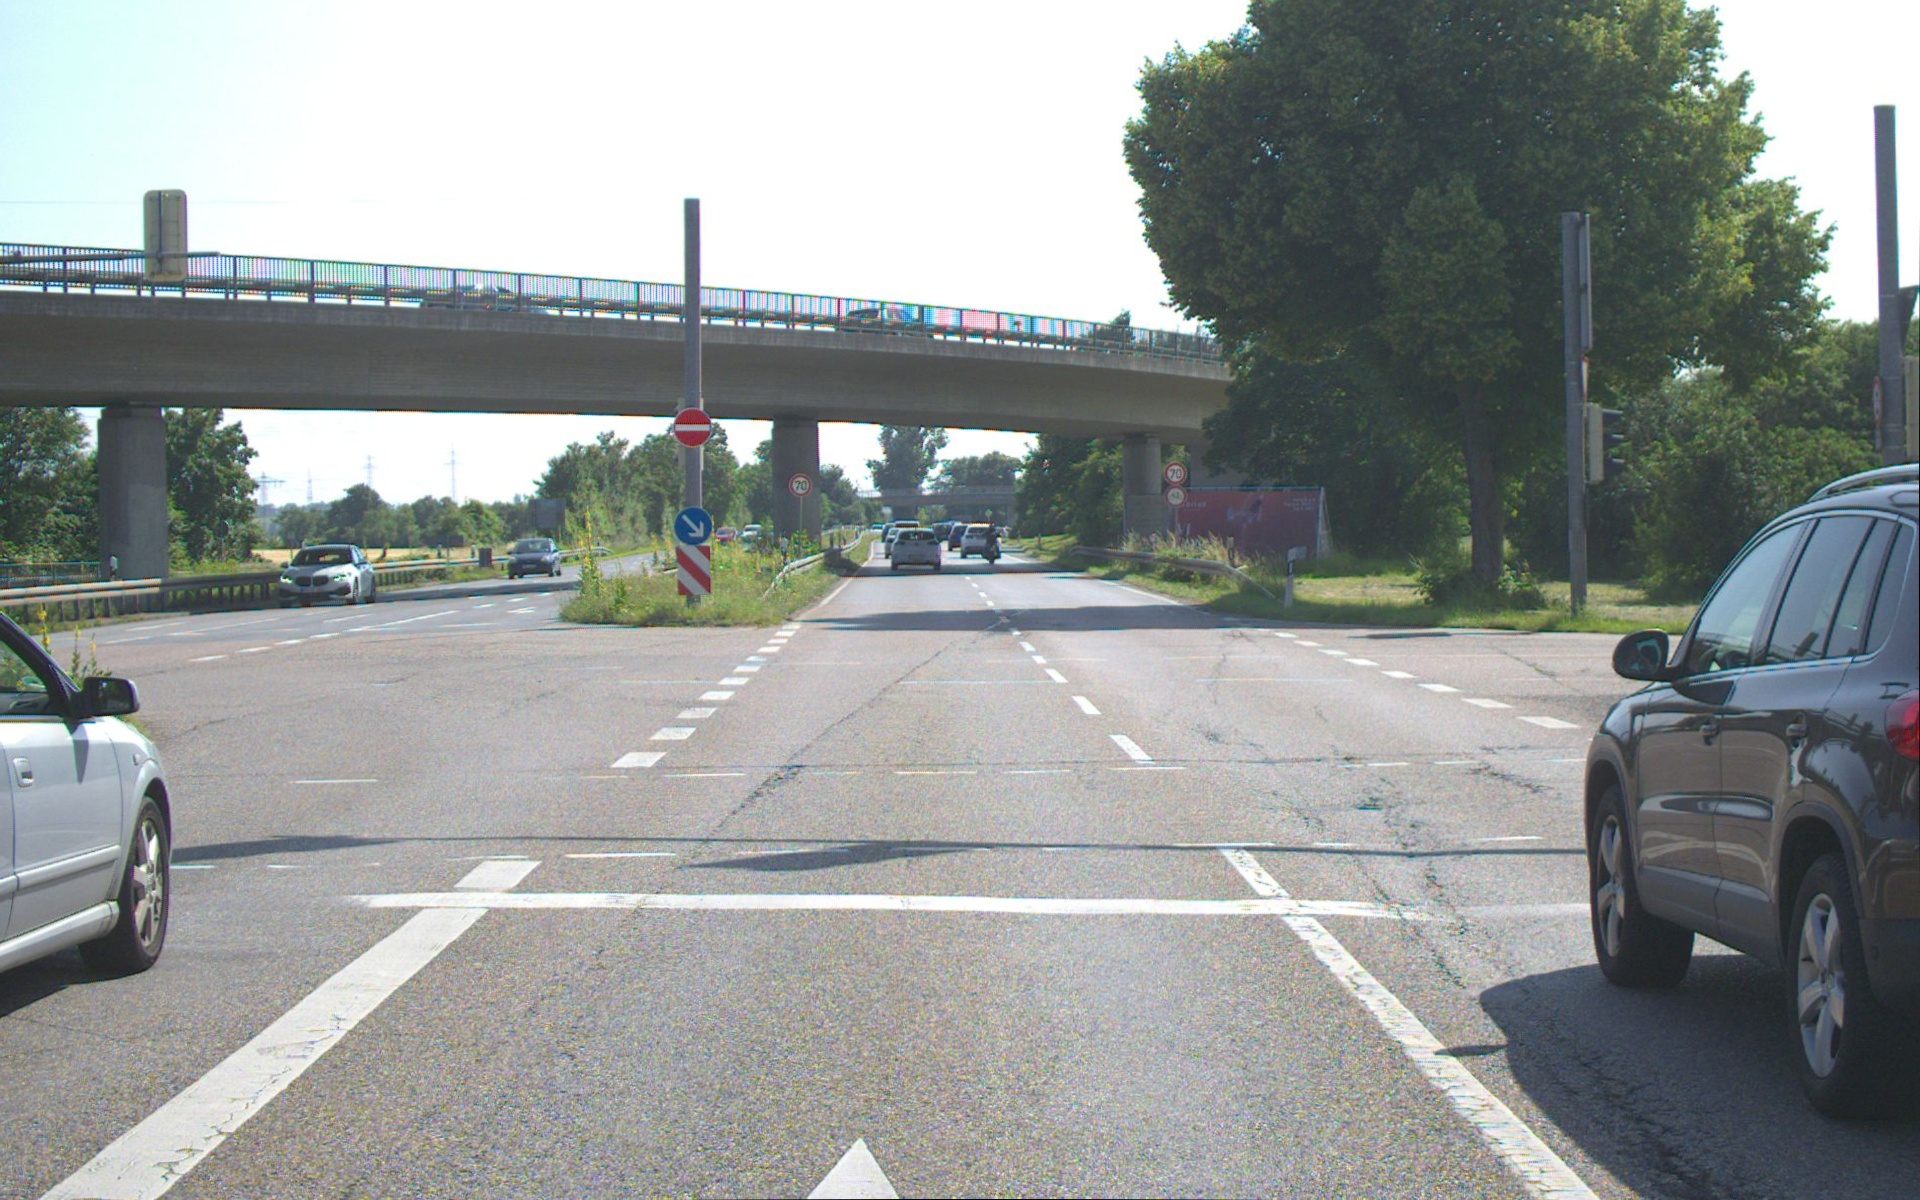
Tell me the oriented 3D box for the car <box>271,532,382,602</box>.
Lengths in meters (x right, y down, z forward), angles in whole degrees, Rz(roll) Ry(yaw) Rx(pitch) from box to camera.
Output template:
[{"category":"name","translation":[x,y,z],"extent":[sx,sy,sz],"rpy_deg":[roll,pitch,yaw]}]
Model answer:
[{"category":"car","translation":[-15.046,-0.805,81.801],"extent":[1.882,1.510,4.148],"rpy_deg":[-4,1,-1]}]

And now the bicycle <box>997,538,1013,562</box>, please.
[{"category":"bicycle","translation":[1.859,-2.052,140.858],"extent":[0.600,0.980,2.361],"rpy_deg":[-1,1,0]}]

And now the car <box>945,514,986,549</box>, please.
[{"category":"car","translation":[0.267,-3.326,165.644],"extent":[1.874,1.634,4.000],"rpy_deg":[1,1,1]}]

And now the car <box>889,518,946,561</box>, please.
[{"category":"car","translation":[-1.457,-2.110,119.182],"extent":[1.851,1.456,4.000],"rpy_deg":[1,1,1]}]

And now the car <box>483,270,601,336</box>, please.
[{"category":"car","translation":[-10.749,-7.626,88.531],"extent":[1.321,1.481,3.192],"rpy_deg":[0,1,30]}]

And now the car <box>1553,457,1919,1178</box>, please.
[{"category":"car","translation":[3.005,0.473,9.950],"extent":[1.755,1.650,4.147],"rpy_deg":[1,1,-1]}]

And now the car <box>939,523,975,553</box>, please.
[{"category":"car","translation":[-0.178,-3.621,200.600],"extent":[1.993,1.626,4.000],"rpy_deg":[2,0,-1]}]

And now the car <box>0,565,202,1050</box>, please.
[{"category":"car","translation":[-3.550,0.594,10.244],"extent":[1.673,1.330,4.098],"rpy_deg":[0,1,0]}]

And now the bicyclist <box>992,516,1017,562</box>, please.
[{"category":"bicyclist","translation":[1.832,-2.506,141.080],"extent":[1.007,1.880,1.327],"rpy_deg":[-1,1,1]}]

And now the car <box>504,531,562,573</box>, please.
[{"category":"car","translation":[-15.812,-1.781,127.496],"extent":[1.614,1.437,3.776],"rpy_deg":[-3,1,0]}]

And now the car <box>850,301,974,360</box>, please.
[{"category":"car","translation":[-1.455,-8.227,105.117],"extent":[1.997,1.481,3.993],"rpy_deg":[2,0,30]}]

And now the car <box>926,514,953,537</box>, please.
[{"category":"car","translation":[-1.531,-5.597,259.288],"extent":[1.993,1.650,4.000],"rpy_deg":[2,0,0]}]
